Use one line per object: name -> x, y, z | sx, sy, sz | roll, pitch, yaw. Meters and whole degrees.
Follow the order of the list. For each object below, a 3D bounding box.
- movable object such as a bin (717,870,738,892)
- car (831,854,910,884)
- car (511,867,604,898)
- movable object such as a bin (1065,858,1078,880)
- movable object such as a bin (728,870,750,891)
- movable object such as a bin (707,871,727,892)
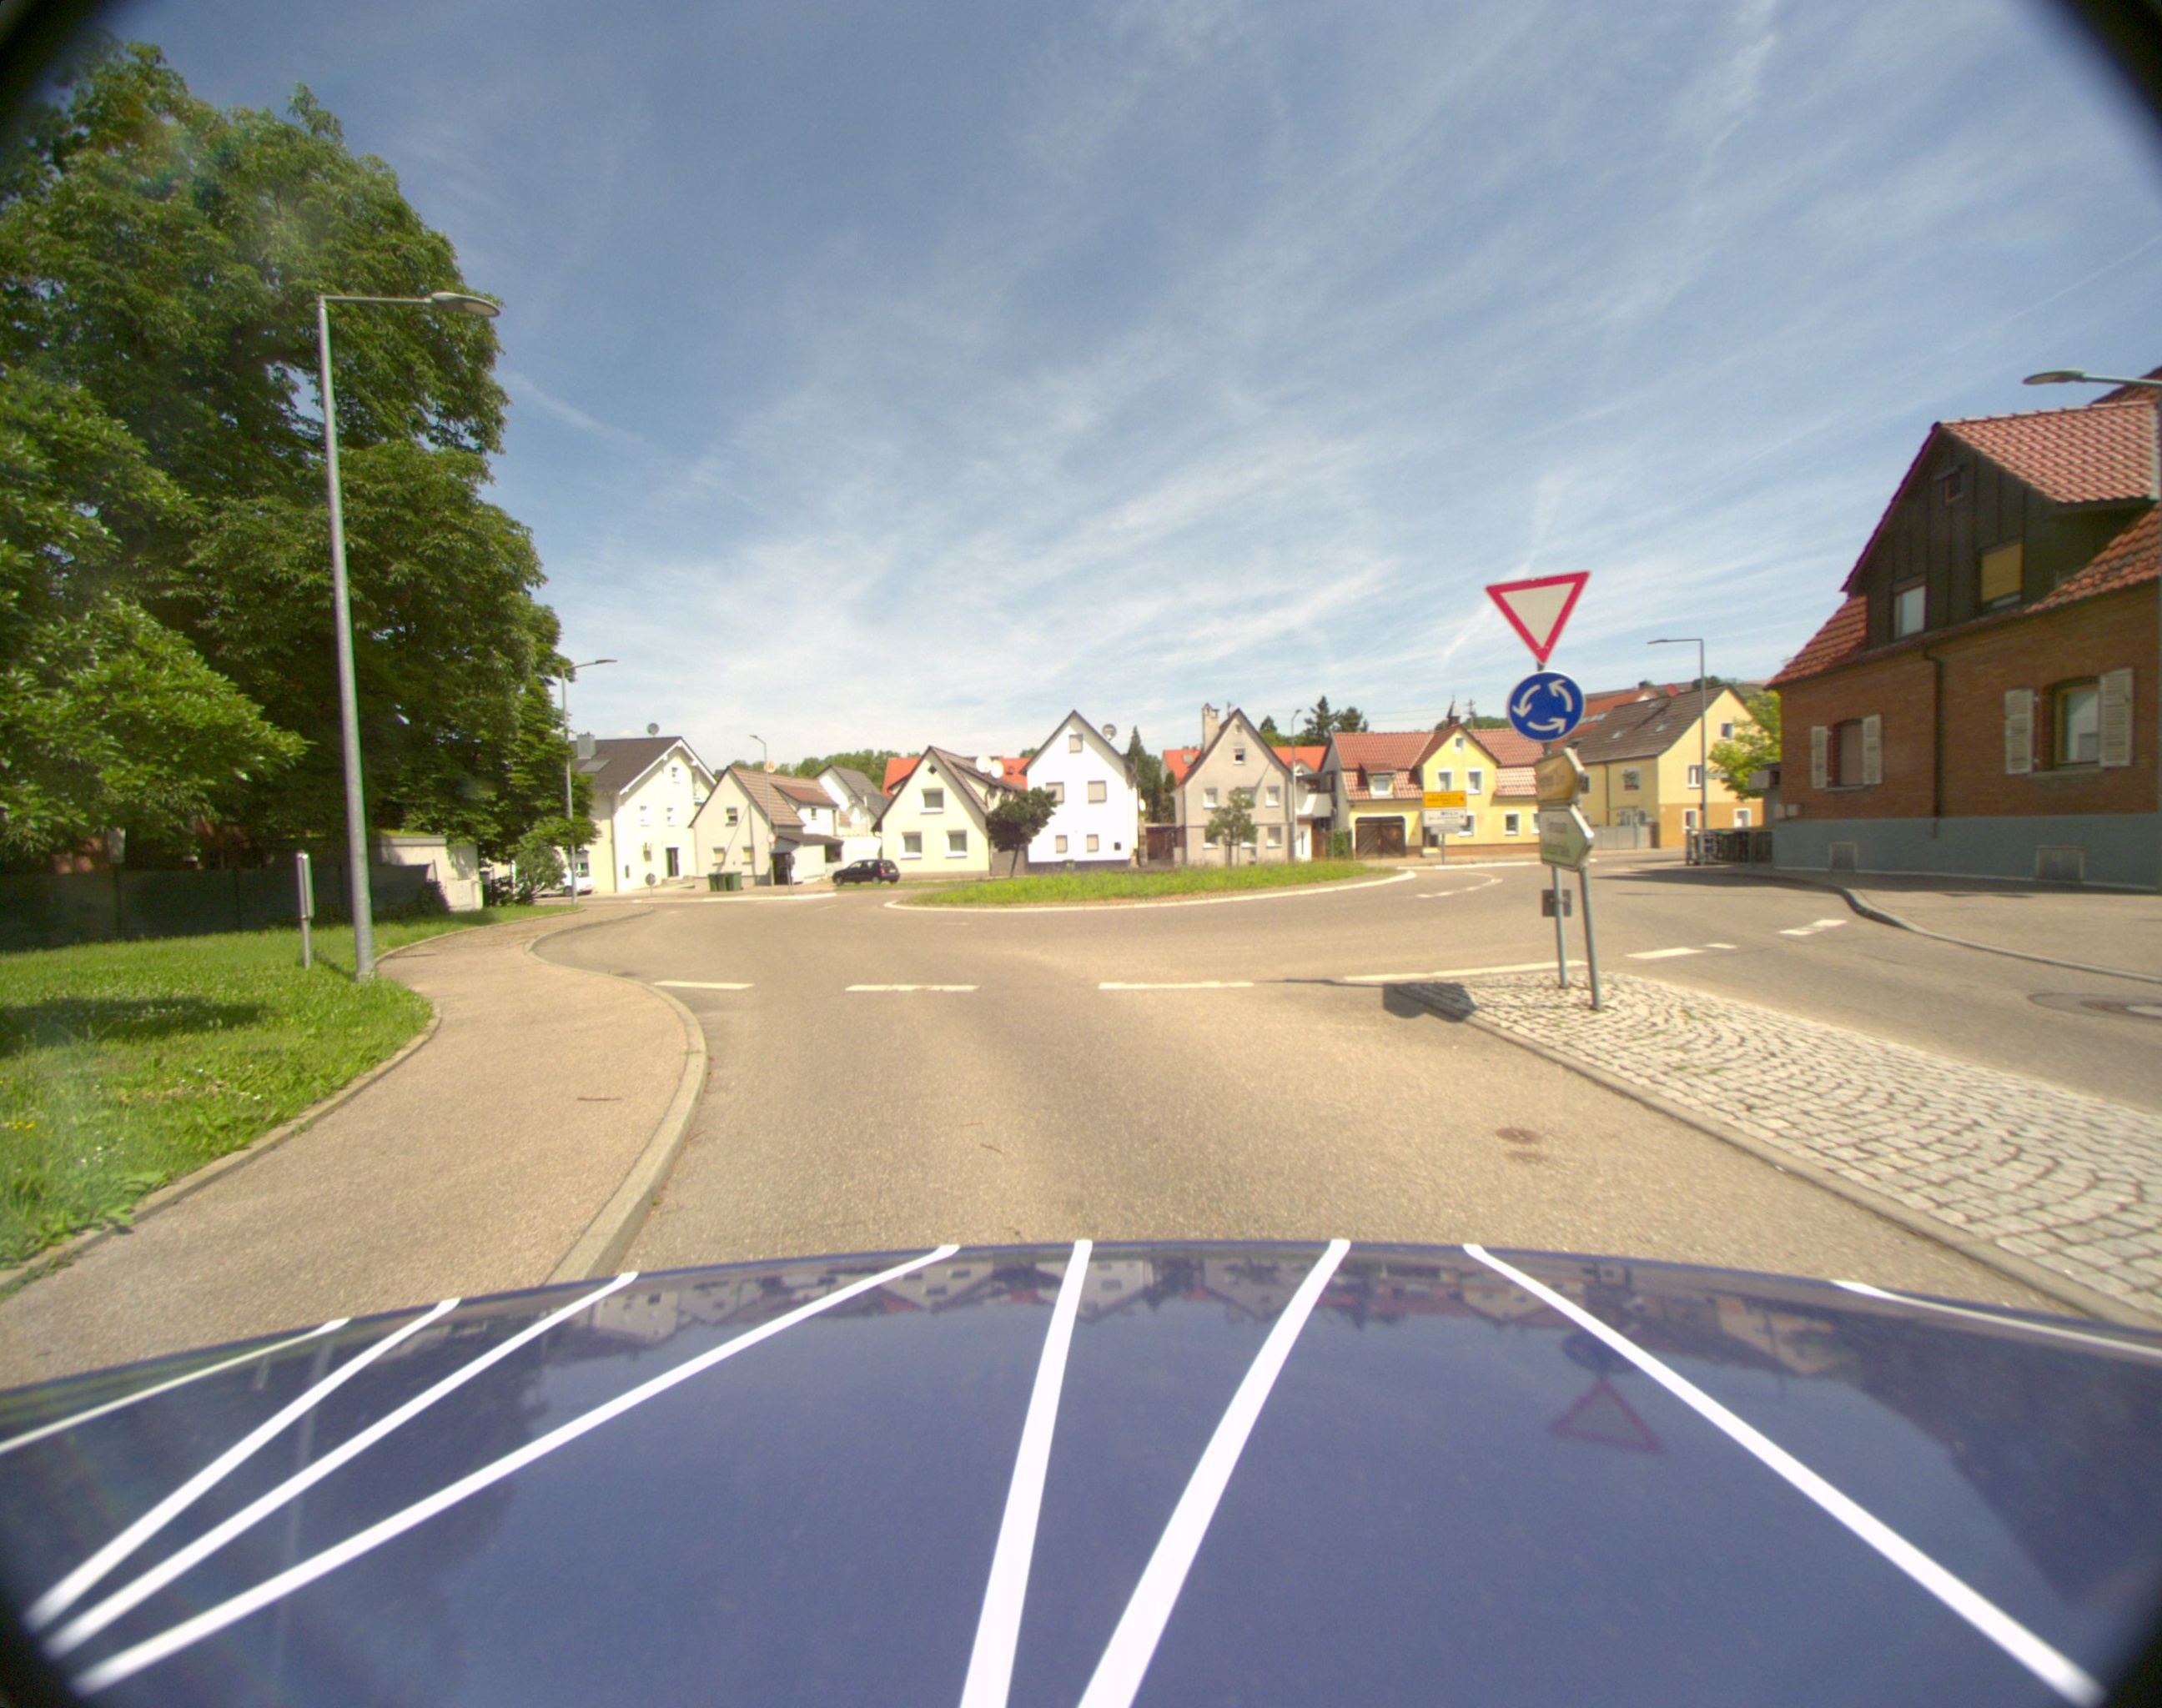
movable object such as a bin -> -19.305, 1.464, 41.454 | 0.631, 1.071, 0.733 | -2, 4, 16
car -> -11.459, 0.816, 41.356 | 3.837, 1.434, 1.780 | -1, 4, 24
car -> -30.188, 1.630, 43.908 | 3.997, 1.494, 1.825 | -3, 3, 1
movable object such as a bin -> -0.480, 0.746, 37.888 | 0.579, 1.042, 0.903 | -3, 1, -4
movable object such as a bin -> -18.580, 1.423, 41.252 | 0.724, 1.071, 0.683 | -2, 4, 16
movable object such as a bin -> -19.944, 1.494, 41.659 | 0.631, 1.087, 0.643 | -2, 4, 16
